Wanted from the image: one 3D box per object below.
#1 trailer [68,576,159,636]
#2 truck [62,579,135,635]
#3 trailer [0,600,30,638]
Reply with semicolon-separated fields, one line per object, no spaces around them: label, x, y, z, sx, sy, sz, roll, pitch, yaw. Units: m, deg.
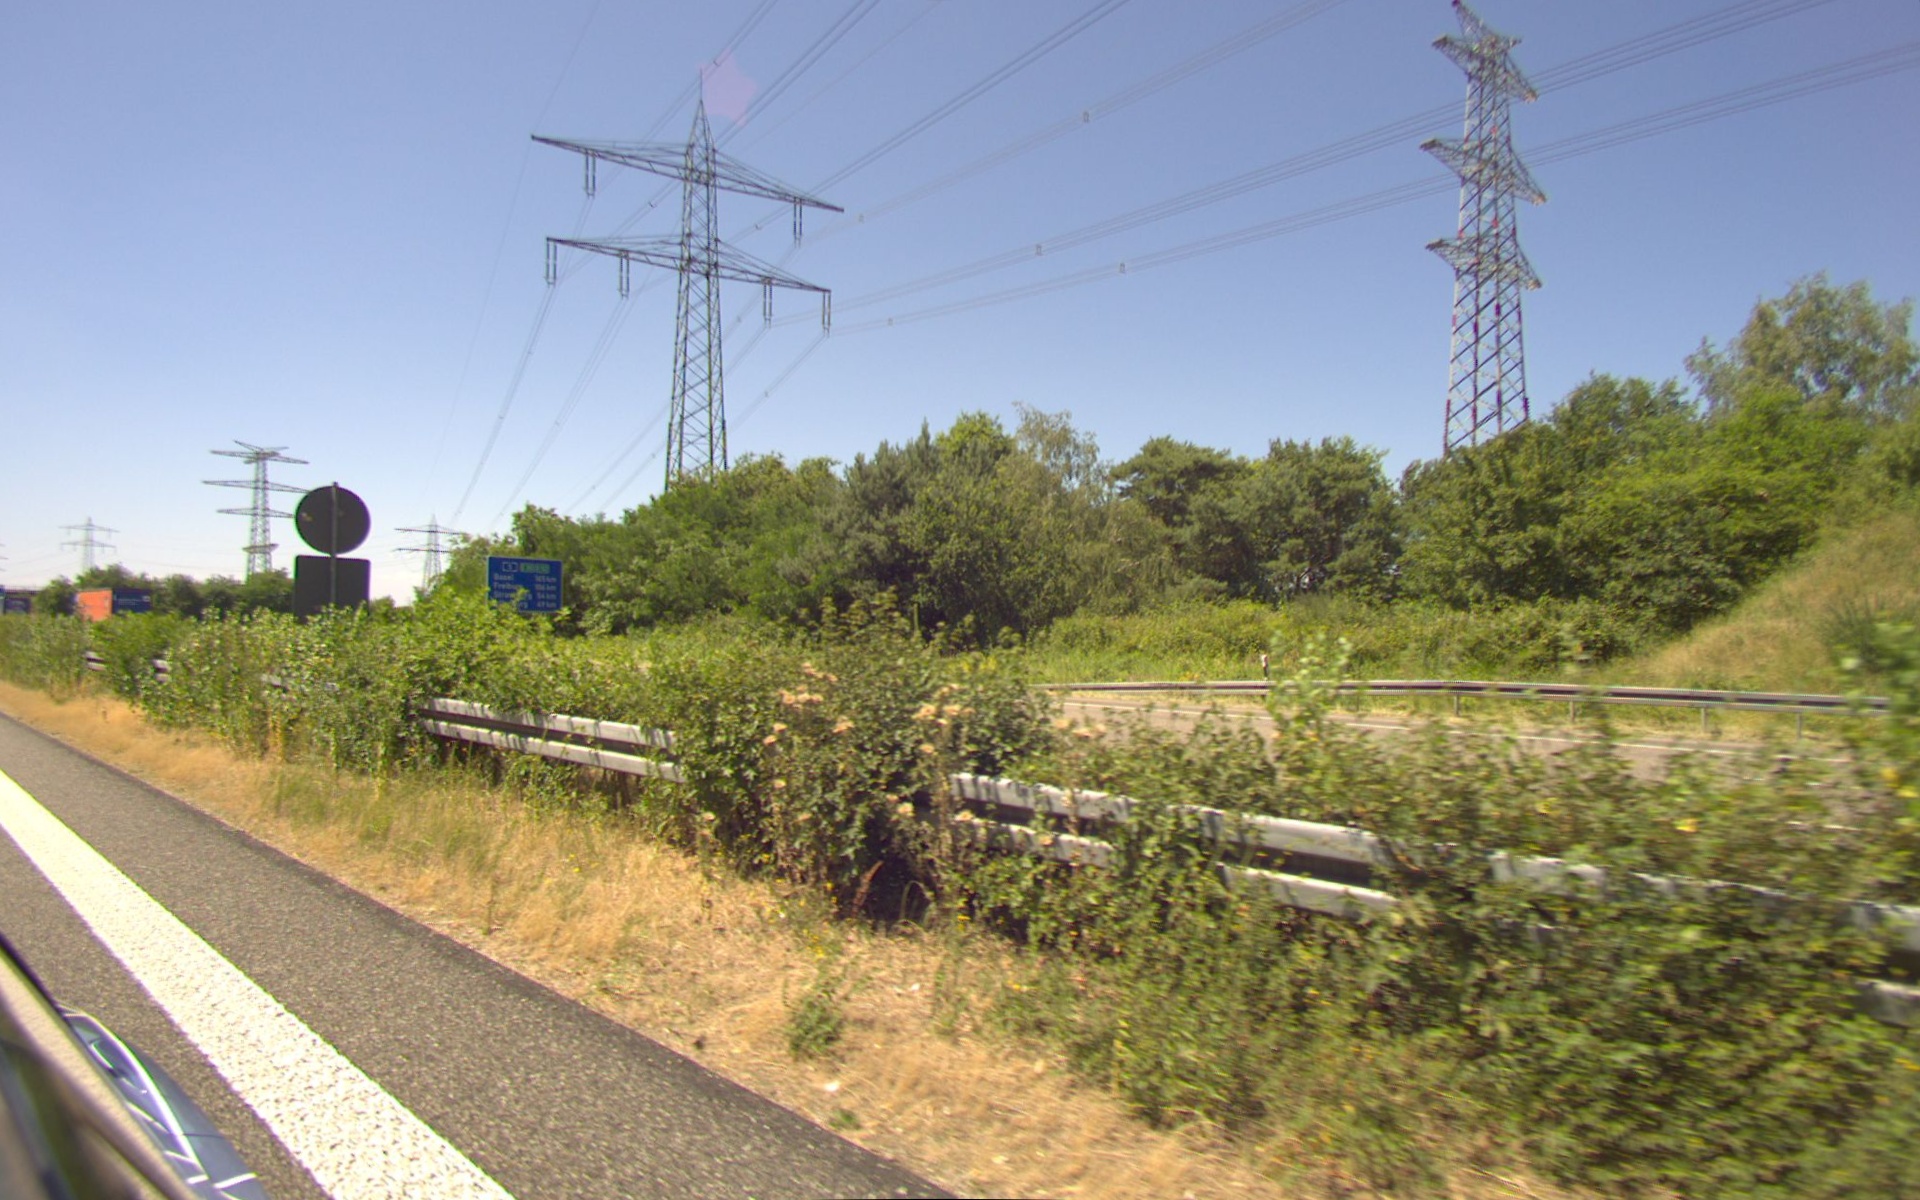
trailer;-69.955;0.602;83.466;14.158;4.441;3.309;-1;-6;41
truck;-74.478;0.696;87.411;7.967;4.441;3.309;-1;-6;41
trailer;-120.014;2.409;126.943;14.223;4.441;3.055;-1;-4;41
